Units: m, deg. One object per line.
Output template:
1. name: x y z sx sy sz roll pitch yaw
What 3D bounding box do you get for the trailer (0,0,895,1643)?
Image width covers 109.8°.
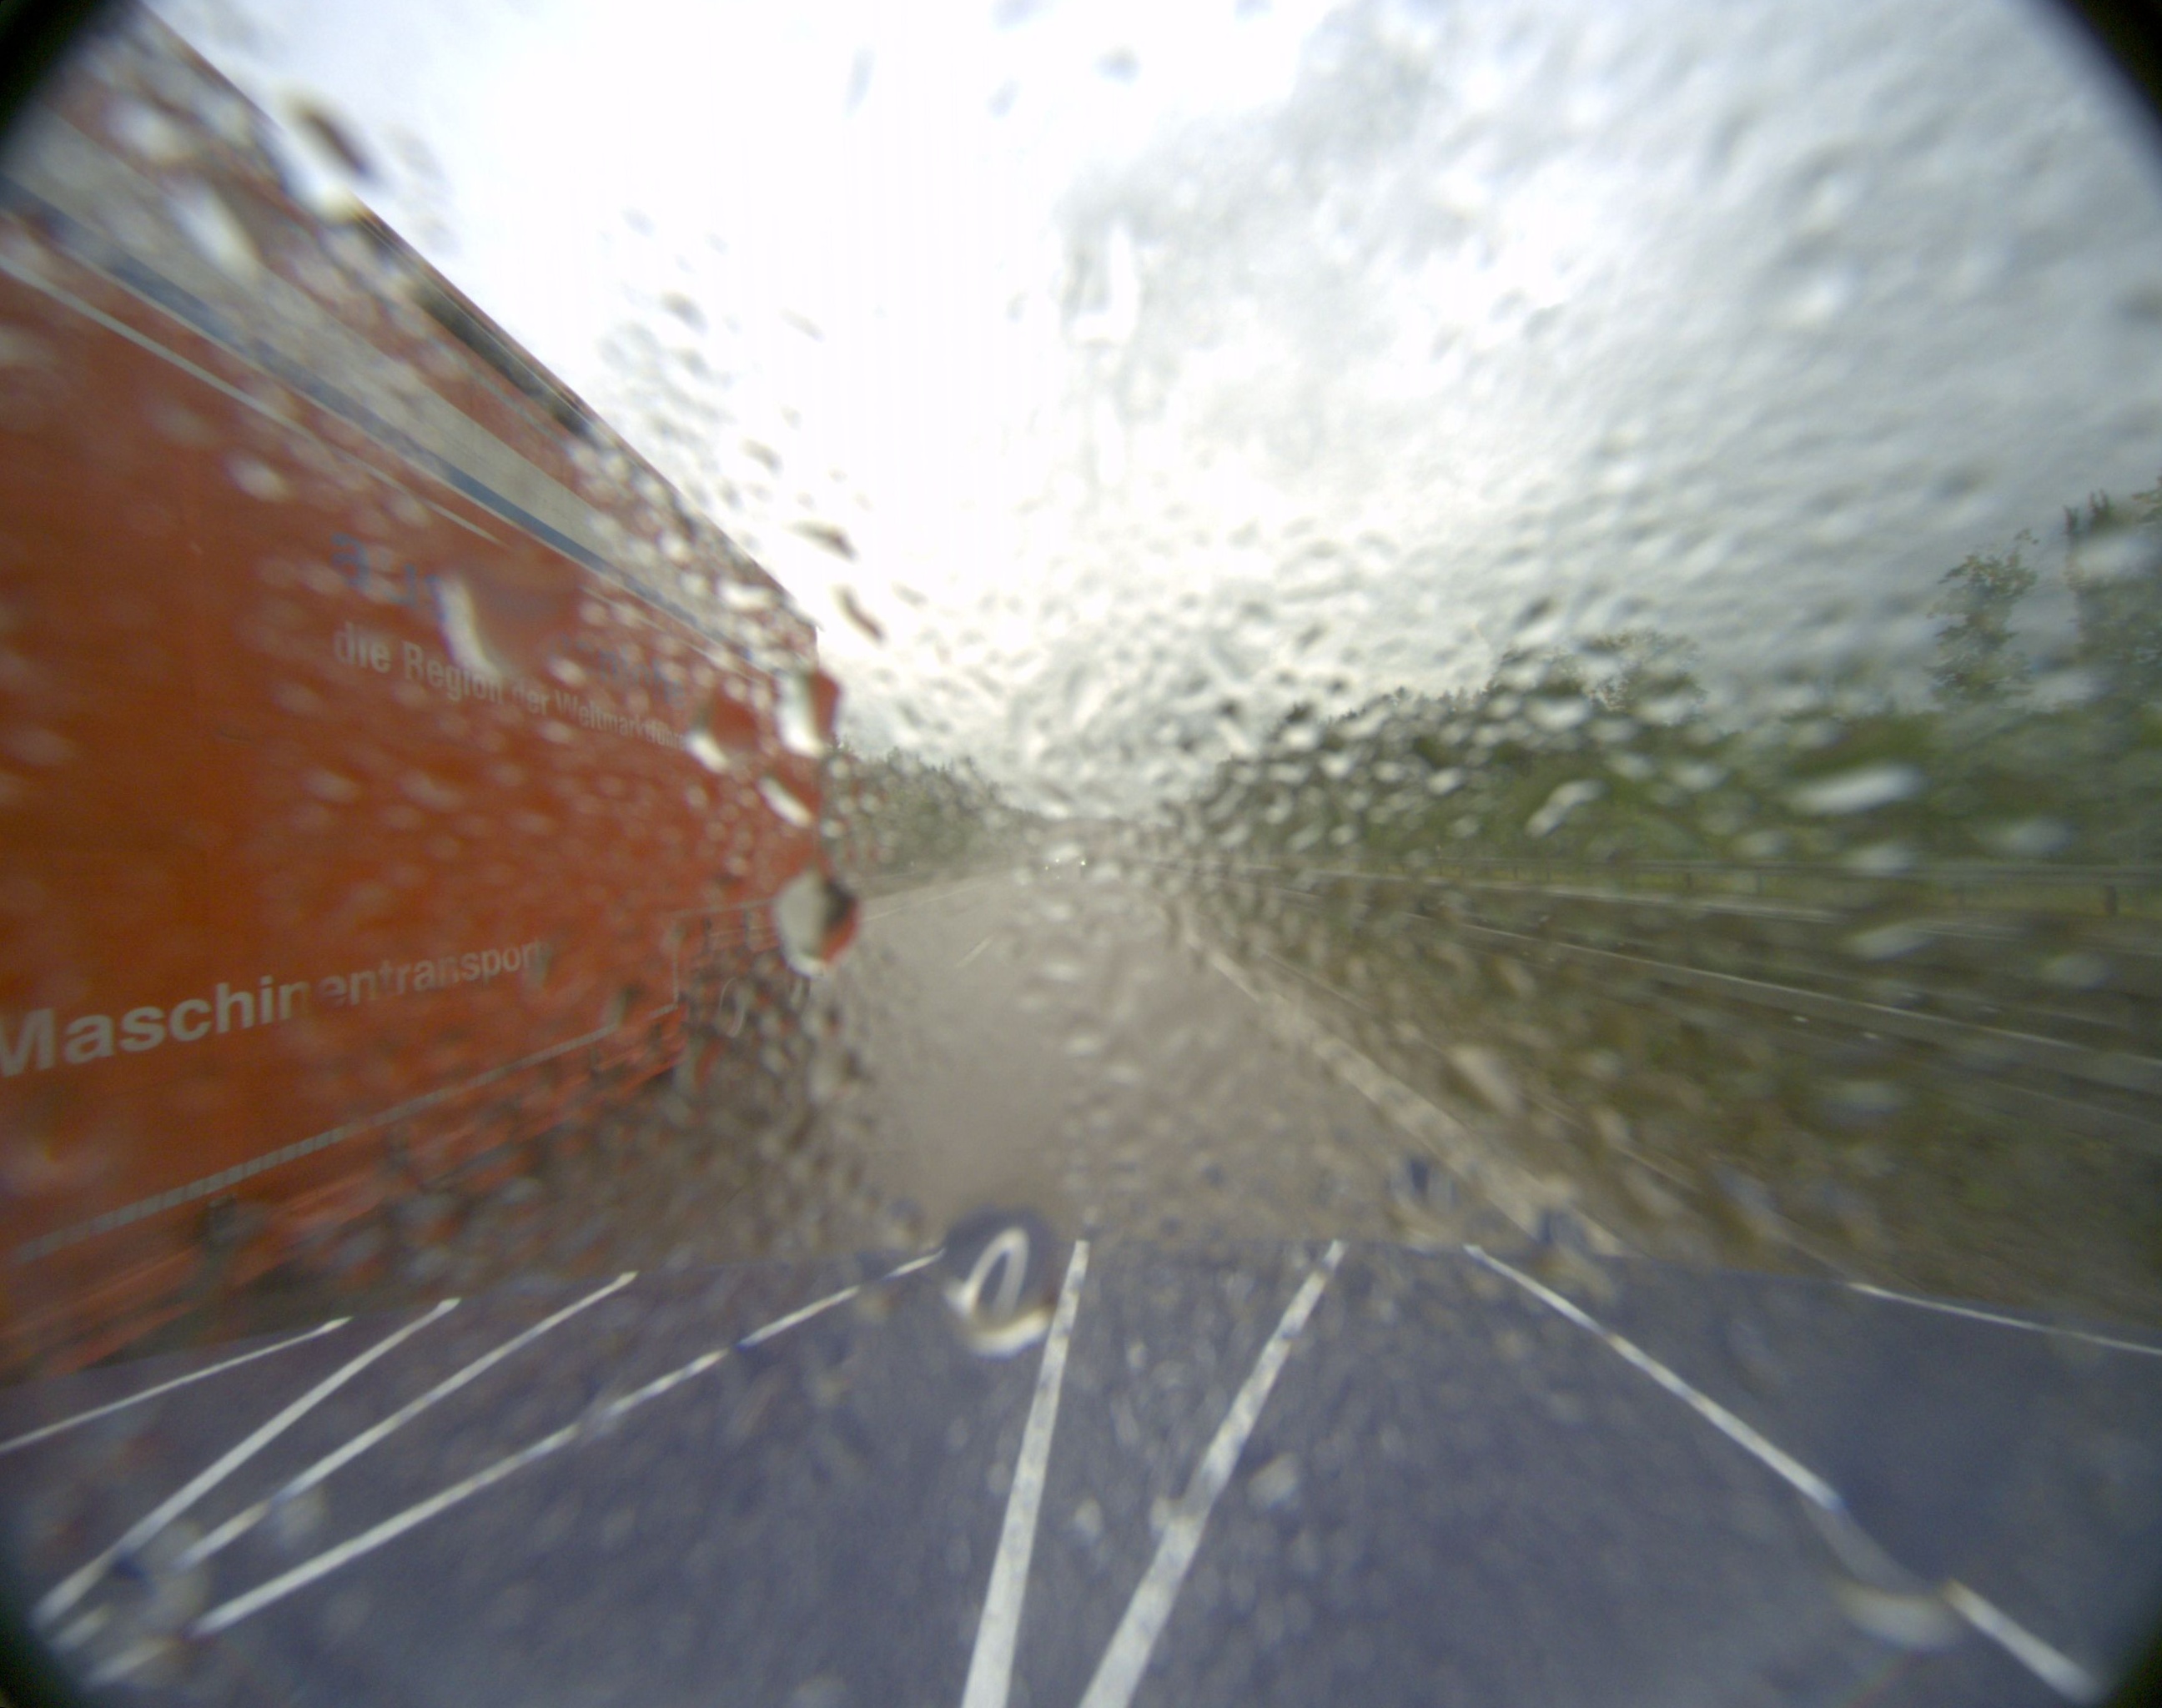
1. trailer: -3.875 -0.264 3.015 2.801 4.133 13.003 -2 1 1

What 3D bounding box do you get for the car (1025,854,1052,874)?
1. car: -2.831 0.636 50.965 1.496 1.189 3.668 -2 1 1

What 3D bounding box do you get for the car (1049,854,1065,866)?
1. car: -2.529 0.594 79.948 1.496 1.189 3.668 -2 1 1

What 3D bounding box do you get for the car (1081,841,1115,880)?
1. car: 0.970 0.358 44.209 1.795 2.114 4.524 -2 1 1
